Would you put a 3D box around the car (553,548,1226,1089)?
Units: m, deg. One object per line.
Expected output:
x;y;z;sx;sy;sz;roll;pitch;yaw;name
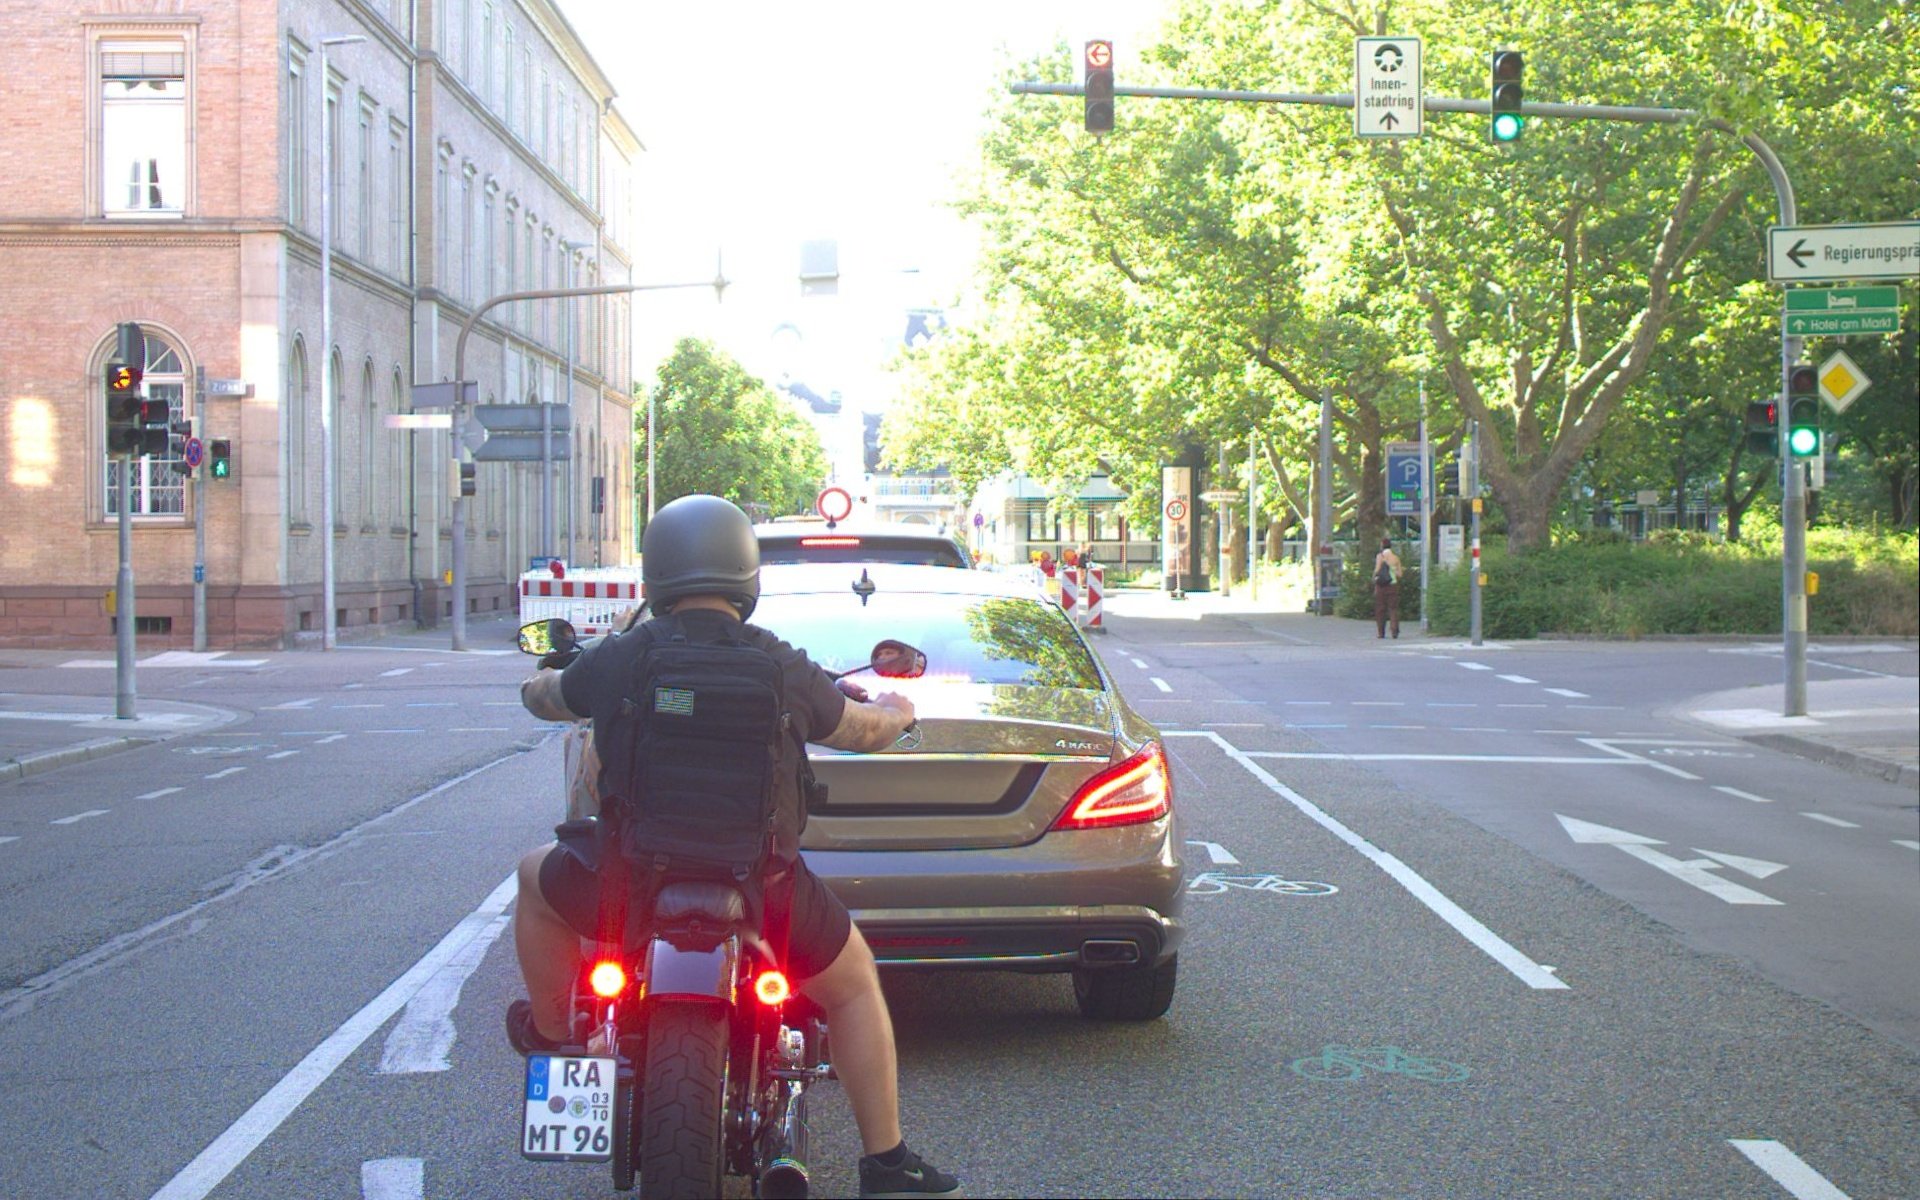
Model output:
-0.440;0.563;11.636;1.821;1.471;4.354;0;1;-7;car

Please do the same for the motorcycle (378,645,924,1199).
-0.586;0.745;7.683;1.007;1.200;2.665;0;1;-1;motorcycle

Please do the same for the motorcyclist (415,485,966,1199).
-0.553;0.560;7.571;1.113;1.607;1.202;0;1;-1;motorcyclist

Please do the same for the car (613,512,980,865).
-0.809;0.378;17.700;1.681;1.619;3.841;0;1;-2;car

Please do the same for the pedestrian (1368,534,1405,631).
7.336;-0.308;59.159;0.559;1.672;0.565;0;1;-1;pedestrian
